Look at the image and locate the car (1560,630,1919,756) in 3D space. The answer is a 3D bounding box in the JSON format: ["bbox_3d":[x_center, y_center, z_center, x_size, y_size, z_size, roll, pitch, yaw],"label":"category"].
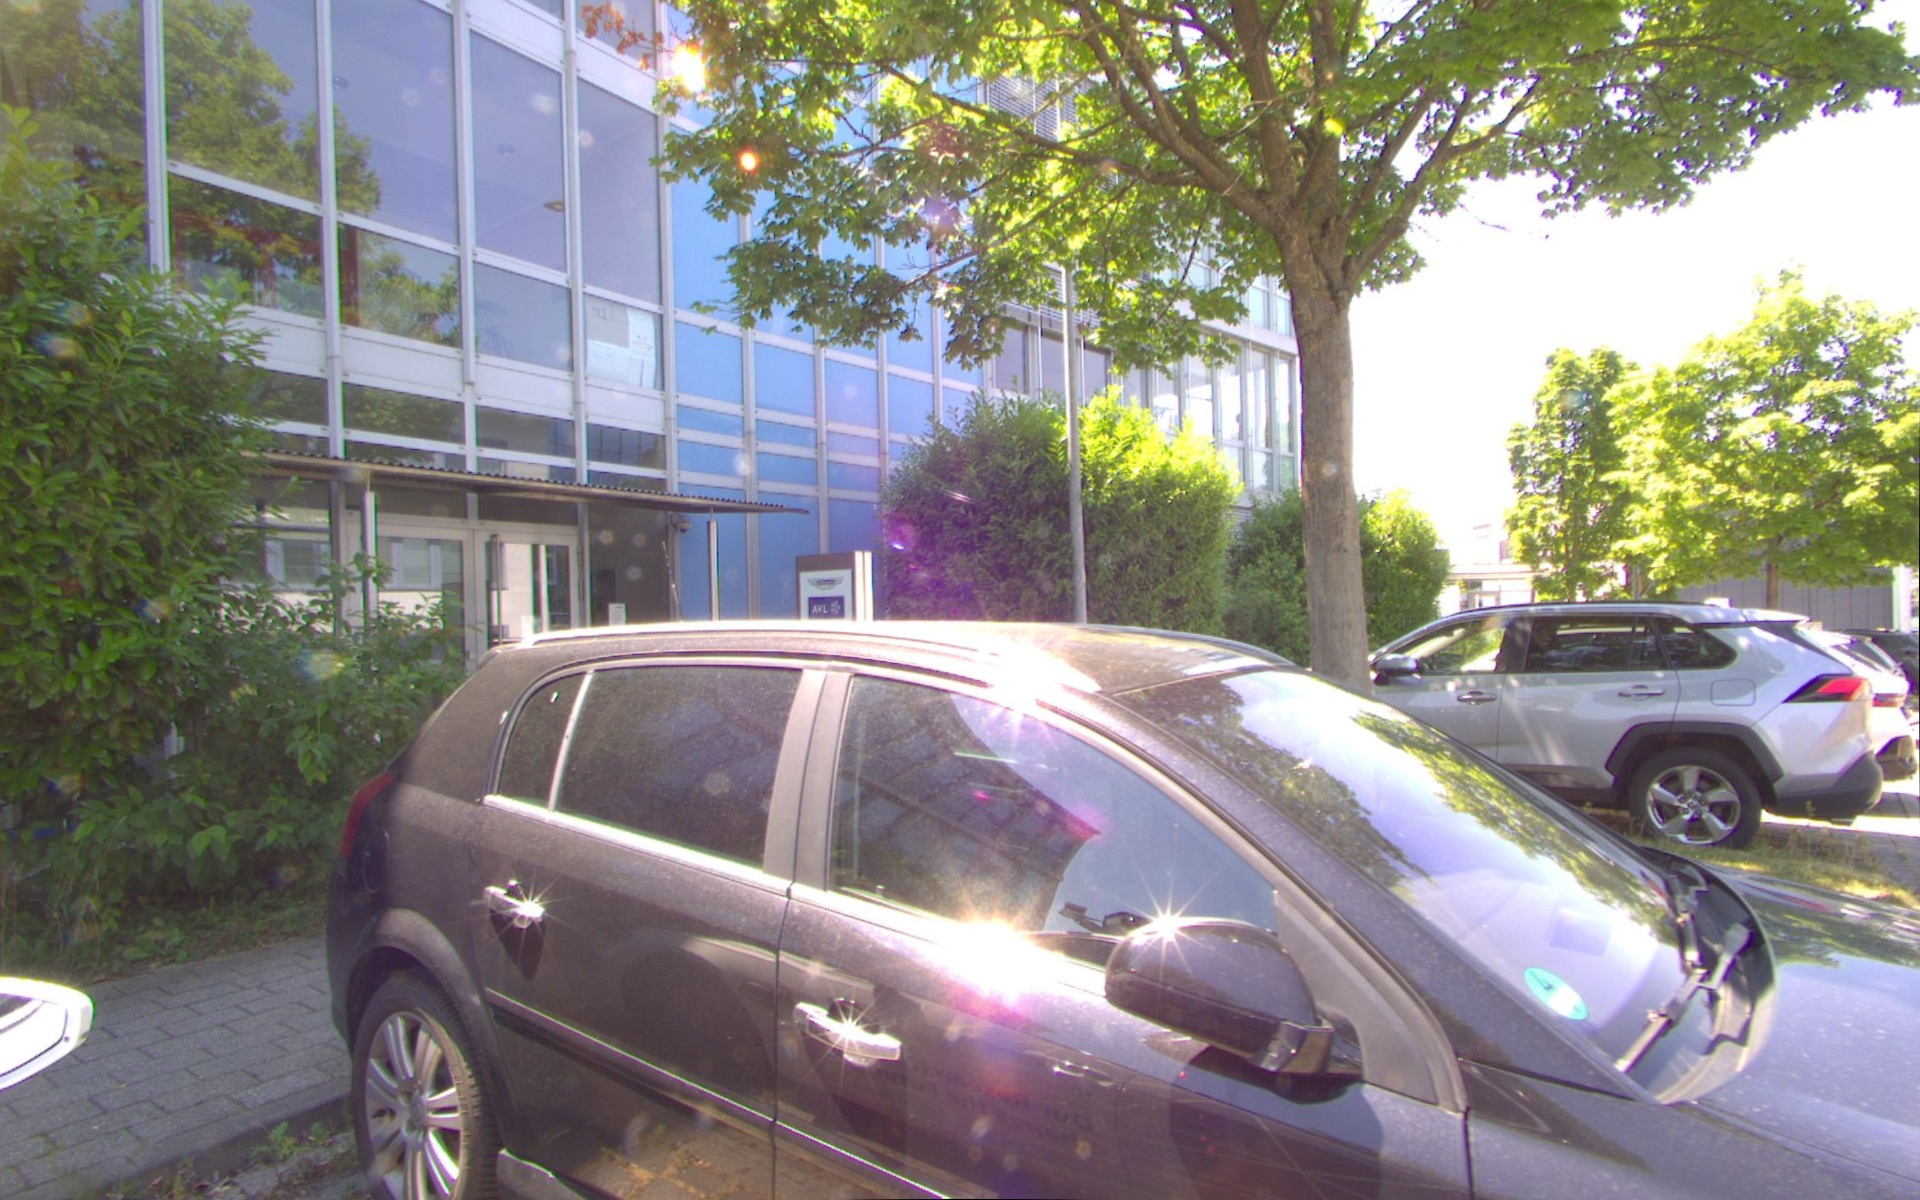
[{"bbox_3d":[11.305,1.234,14.565,1.645,1.505,4.136,2,-1,-44],"label":"car"}]

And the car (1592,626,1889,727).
[{"bbox_3d":[14.535,1.343,18.860,1.641,1.626,4.145,2,-1,-38],"label":"car"}]

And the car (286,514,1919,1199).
[{"bbox_3d":[0.439,0.753,2.195,4.505,1.569,1.753,-1,-2,36],"label":"car"}]

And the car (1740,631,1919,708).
[{"bbox_3d":[20.036,1.523,22.571,1.615,1.545,3.566,1,-1,-34],"label":"car"}]

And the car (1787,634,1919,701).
[{"bbox_3d":[22.097,1.588,23.703,1.615,1.462,3.566,2,-1,-34],"label":"car"}]

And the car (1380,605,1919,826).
[{"bbox_3d":[6.382,0.909,9.482,4.150,1.664,1.649,0,-1,38],"label":"car"}]

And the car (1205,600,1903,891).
[{"bbox_3d":[4.320,0.868,7.855,4.278,1.664,1.845,0,-1,38],"label":"car"}]
